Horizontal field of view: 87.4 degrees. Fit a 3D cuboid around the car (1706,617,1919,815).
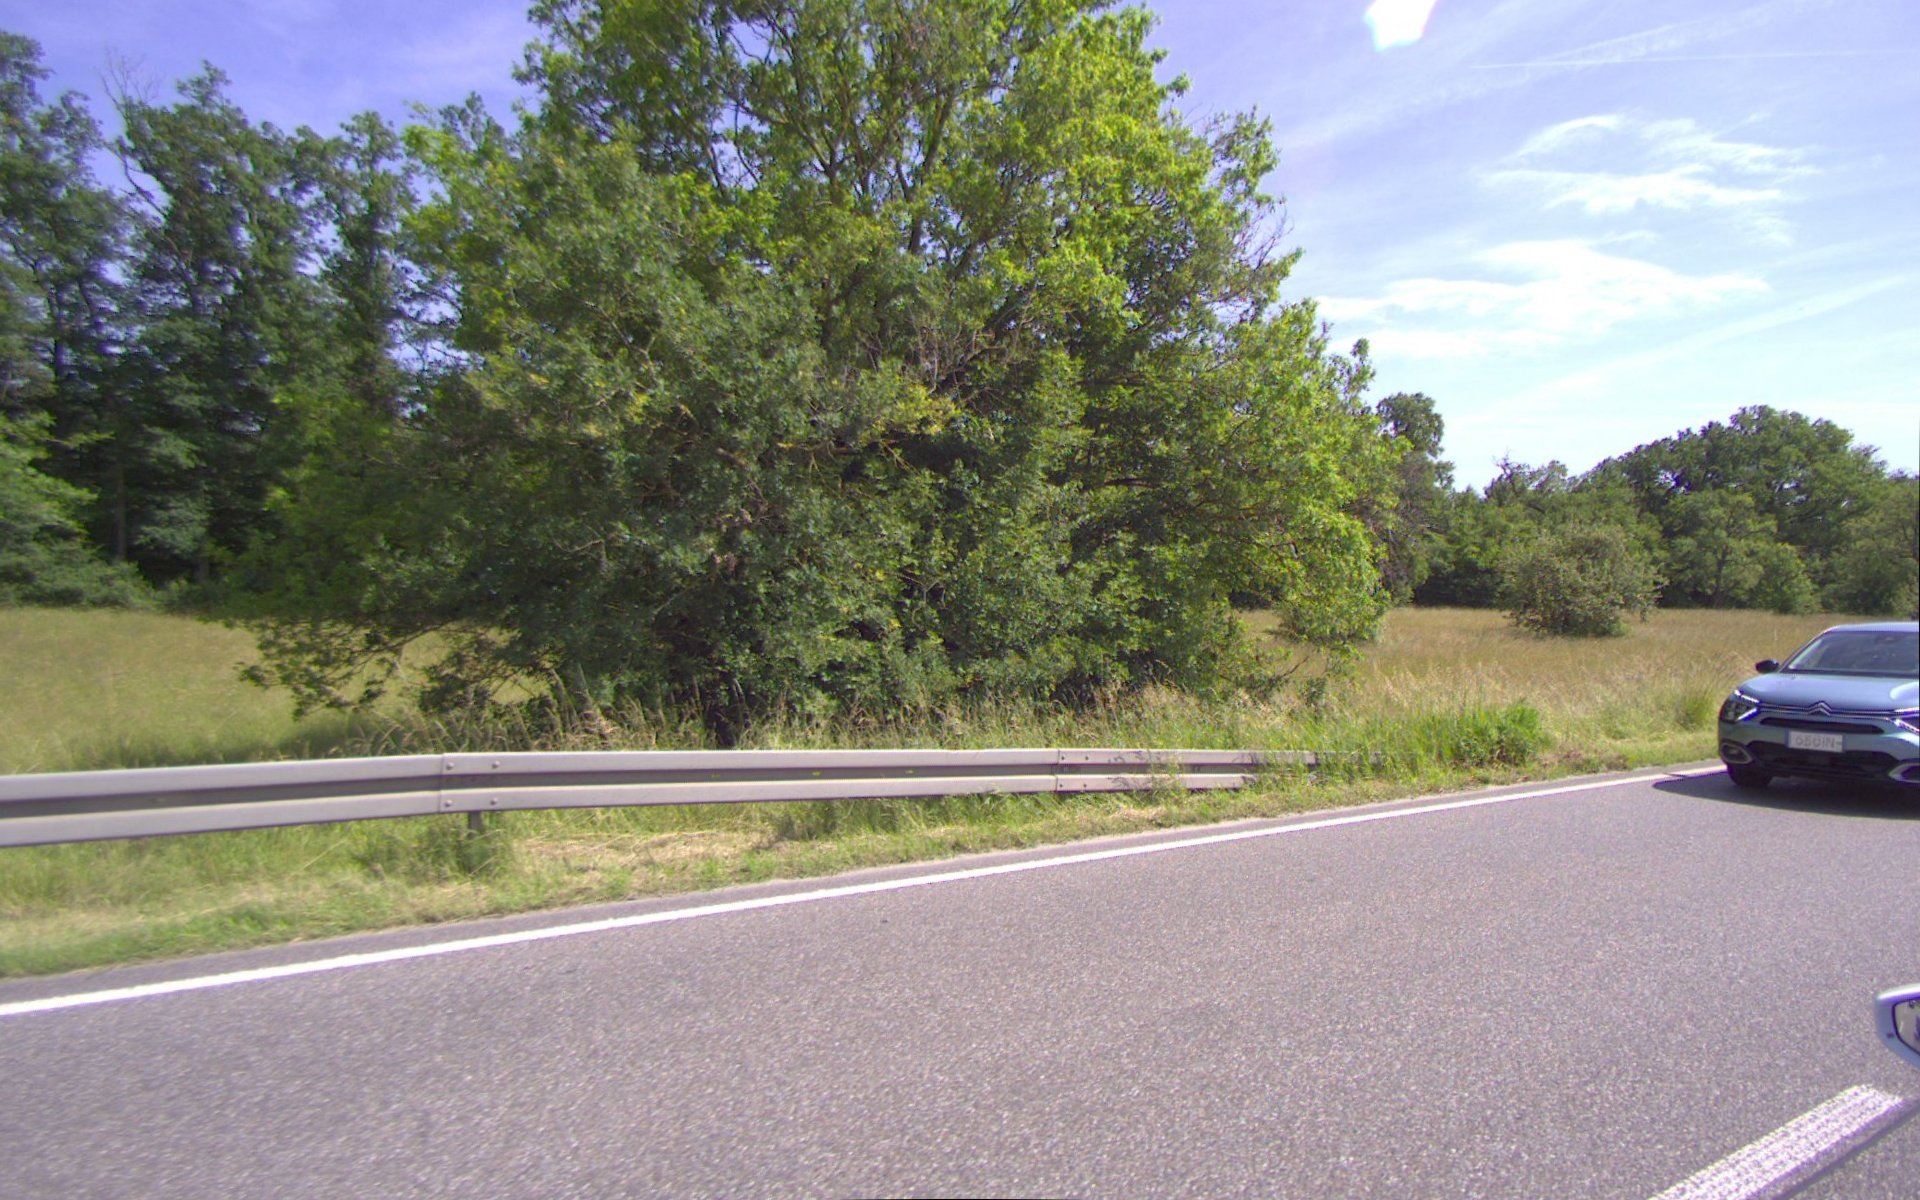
[{"bbox_3d":[8.941,0.960,9.440,4.007,1.535,1.736,1,-1,-31],"label":"car"}]
